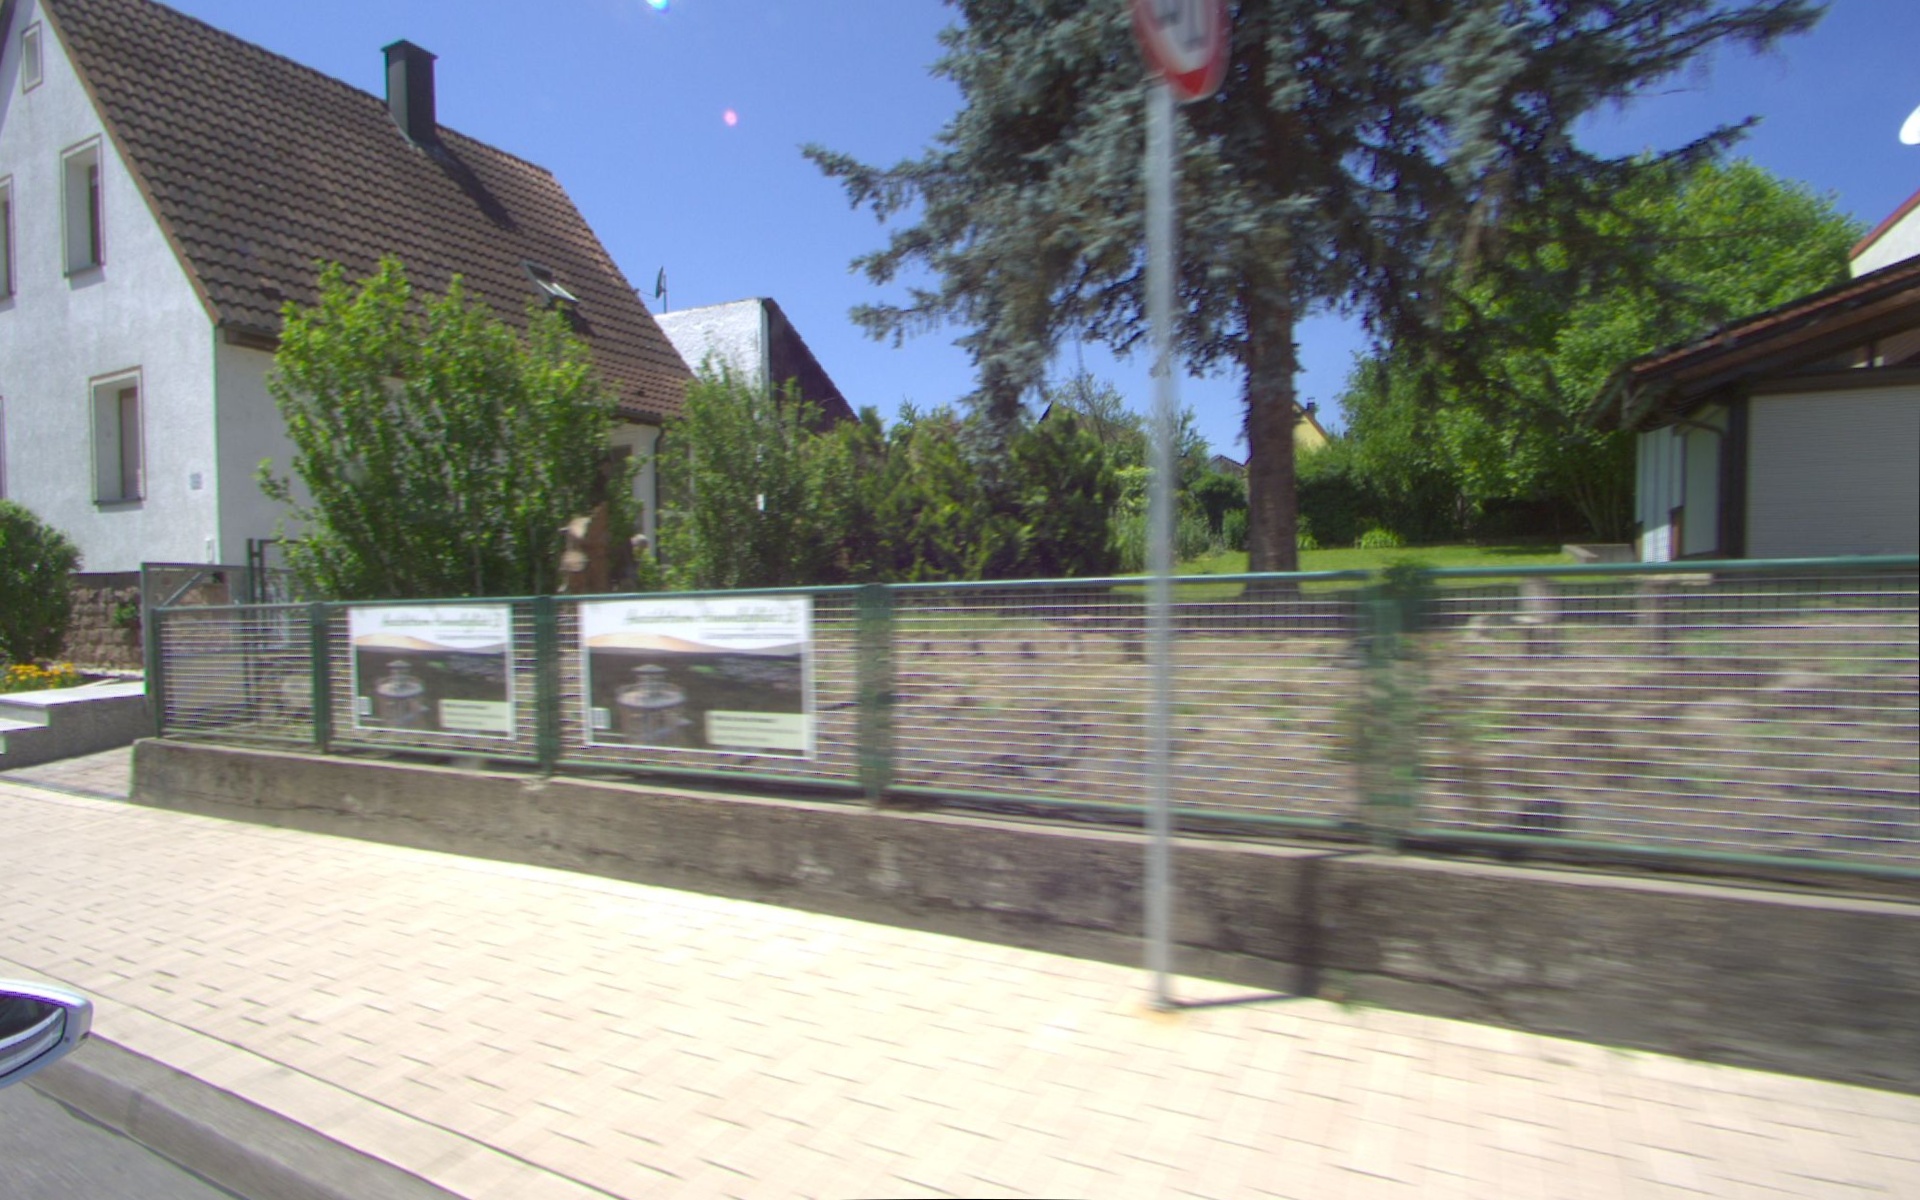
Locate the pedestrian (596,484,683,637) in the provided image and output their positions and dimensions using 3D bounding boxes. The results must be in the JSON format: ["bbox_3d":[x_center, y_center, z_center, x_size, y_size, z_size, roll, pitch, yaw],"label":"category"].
[{"bbox_3d":[-3.555,-0.443,11.121,0.544,1.639,0.603,0,5,28],"label":"pedestrian"}]
